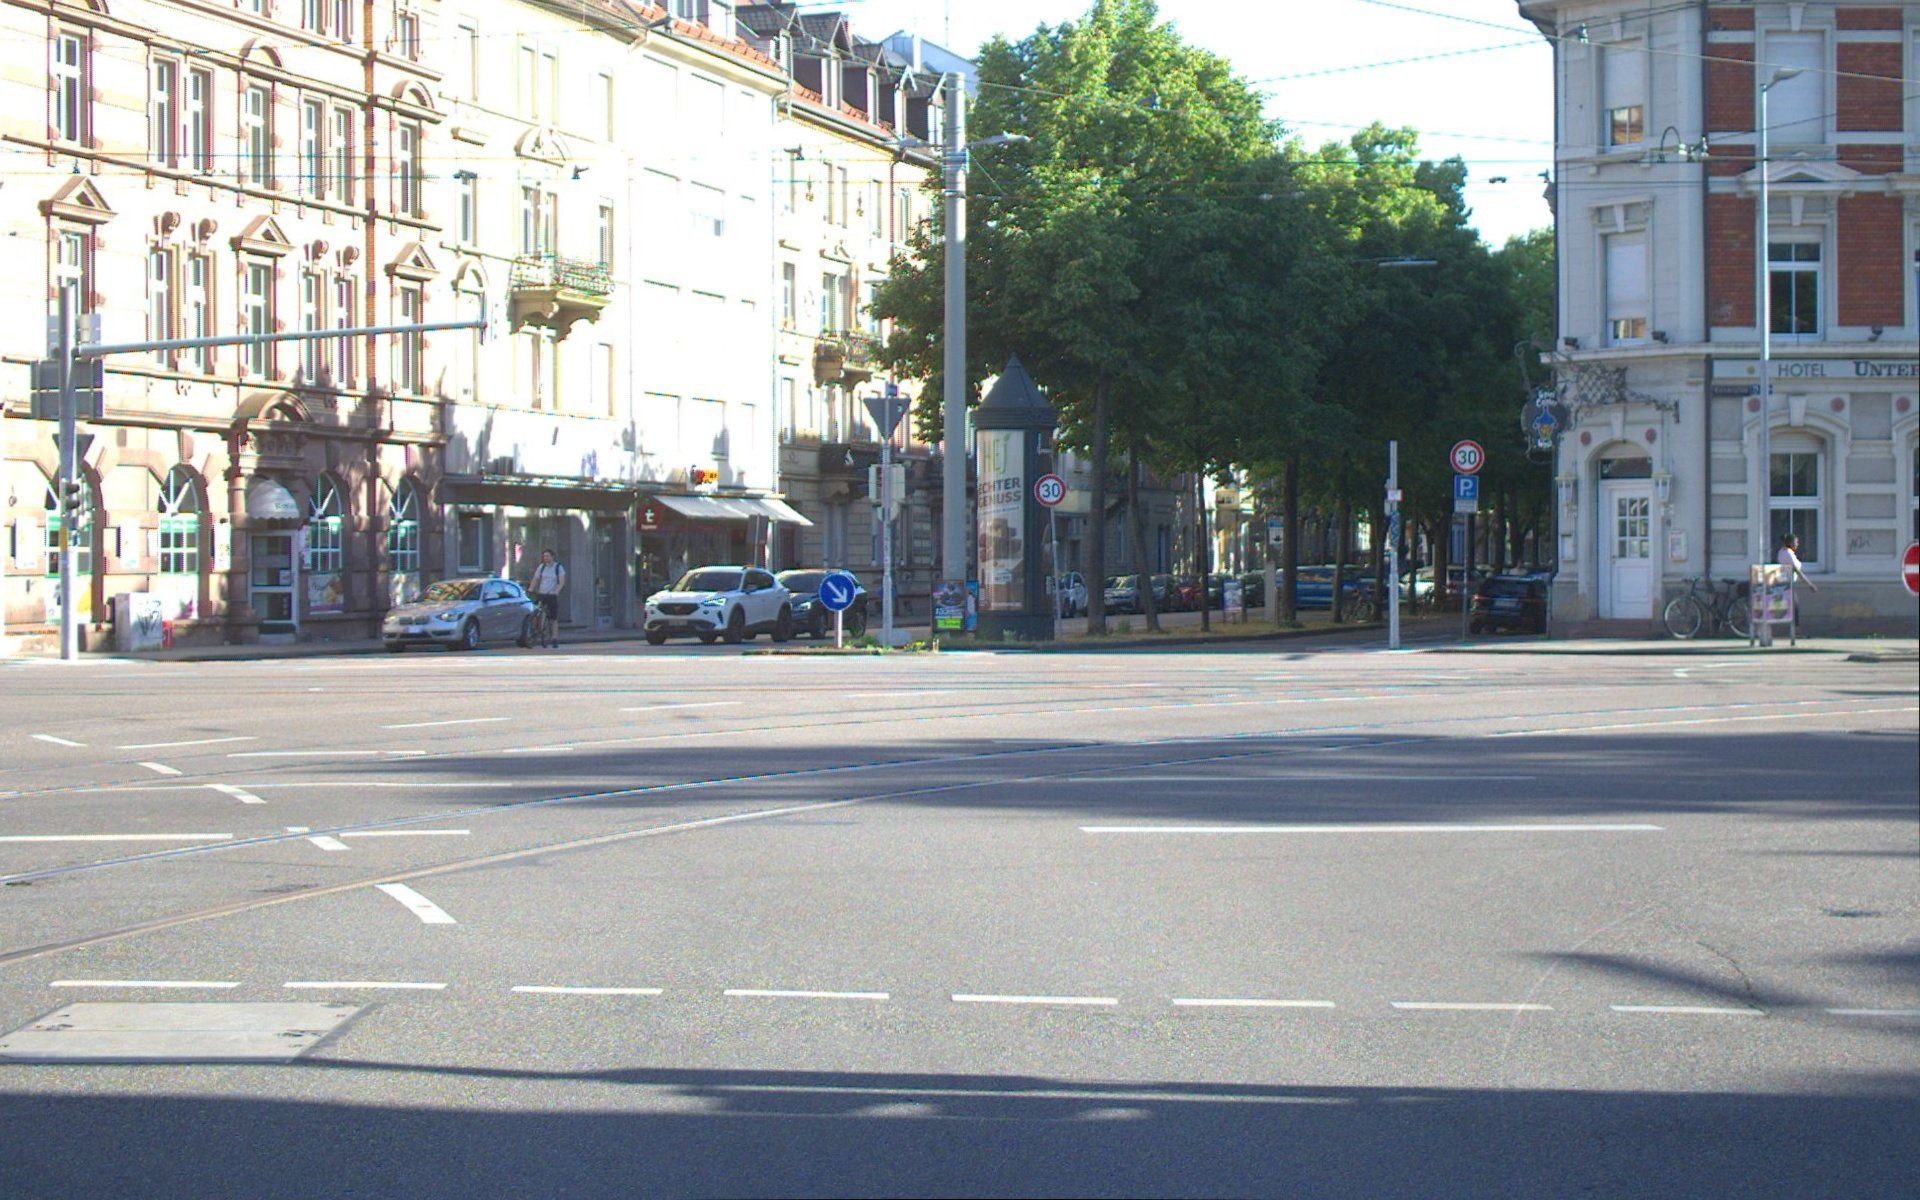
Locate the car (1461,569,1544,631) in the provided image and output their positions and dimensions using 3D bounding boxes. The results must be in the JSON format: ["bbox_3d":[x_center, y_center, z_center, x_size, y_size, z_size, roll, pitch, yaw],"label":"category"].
[{"bbox_3d":[13.046,-0.027,82.534,1.756,1.415,3.998,0,1,12],"label":"car"}]

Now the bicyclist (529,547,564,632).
[{"bbox_3d":[-7.840,-0.202,65.197,0.489,1.596,0.666,0,1,10],"label":"bicyclist"}]

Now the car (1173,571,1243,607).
[{"bbox_3d":[9.877,-0.451,136.609,1.995,1.400,4.166,0,1,16],"label":"car"}]

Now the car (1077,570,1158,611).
[{"bbox_3d":[5.648,-0.340,122.584,1.995,1.400,4.166,0,1,16],"label":"car"}]

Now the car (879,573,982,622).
[{"bbox_3d":[-0.846,-0.092,102.095,1.995,1.400,4.166,0,1,16],"label":"car"}]

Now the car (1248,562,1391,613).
[{"bbox_3d":[10.445,-0.363,99.690,3.989,1.450,1.681,0,1,11],"label":"car"}]

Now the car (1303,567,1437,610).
[{"bbox_3d":[12.574,-0.350,105.398,3.989,1.284,1.694,0,1,11],"label":"car"}]

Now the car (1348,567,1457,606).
[{"bbox_3d":[14.359,-0.431,111.471,3.435,1.235,1.576,0,1,11],"label":"car"}]

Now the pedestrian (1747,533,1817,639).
[{"bbox_3d":[13.457,-0.233,56.300,1.036,1.706,0.629,1,0,9],"label":"pedestrian"}]

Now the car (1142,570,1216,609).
[{"bbox_3d":[8.400,-0.419,131.412,1.995,1.400,4.166,0,1,16],"label":"car"}]

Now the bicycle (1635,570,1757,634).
[{"bbox_3d":[12.270,0.024,57.347,1.953,1.050,0.715,0,1,10],"label":"bicycle"}]

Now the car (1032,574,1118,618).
[{"bbox_3d":[3.935,-0.151,116.865,1.995,1.400,4.166,0,1,16],"label":"car"}]

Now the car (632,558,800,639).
[{"bbox_3d":[-4.752,-0.053,67.474,1.995,1.511,4.166,0,1,16],"label":"car"}]

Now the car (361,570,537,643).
[{"bbox_3d":[-9.928,0.103,67.047,1.995,1.357,3.816,0,1,16],"label":"car"}]

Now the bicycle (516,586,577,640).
[{"bbox_3d":[-7.848,0.233,65.304,0.655,0.997,1.664,1,1,12],"label":"bicycle"}]

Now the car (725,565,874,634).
[{"bbox_3d":[-3.400,-0.040,73.648,1.995,1.400,4.166,0,1,16],"label":"car"}]
